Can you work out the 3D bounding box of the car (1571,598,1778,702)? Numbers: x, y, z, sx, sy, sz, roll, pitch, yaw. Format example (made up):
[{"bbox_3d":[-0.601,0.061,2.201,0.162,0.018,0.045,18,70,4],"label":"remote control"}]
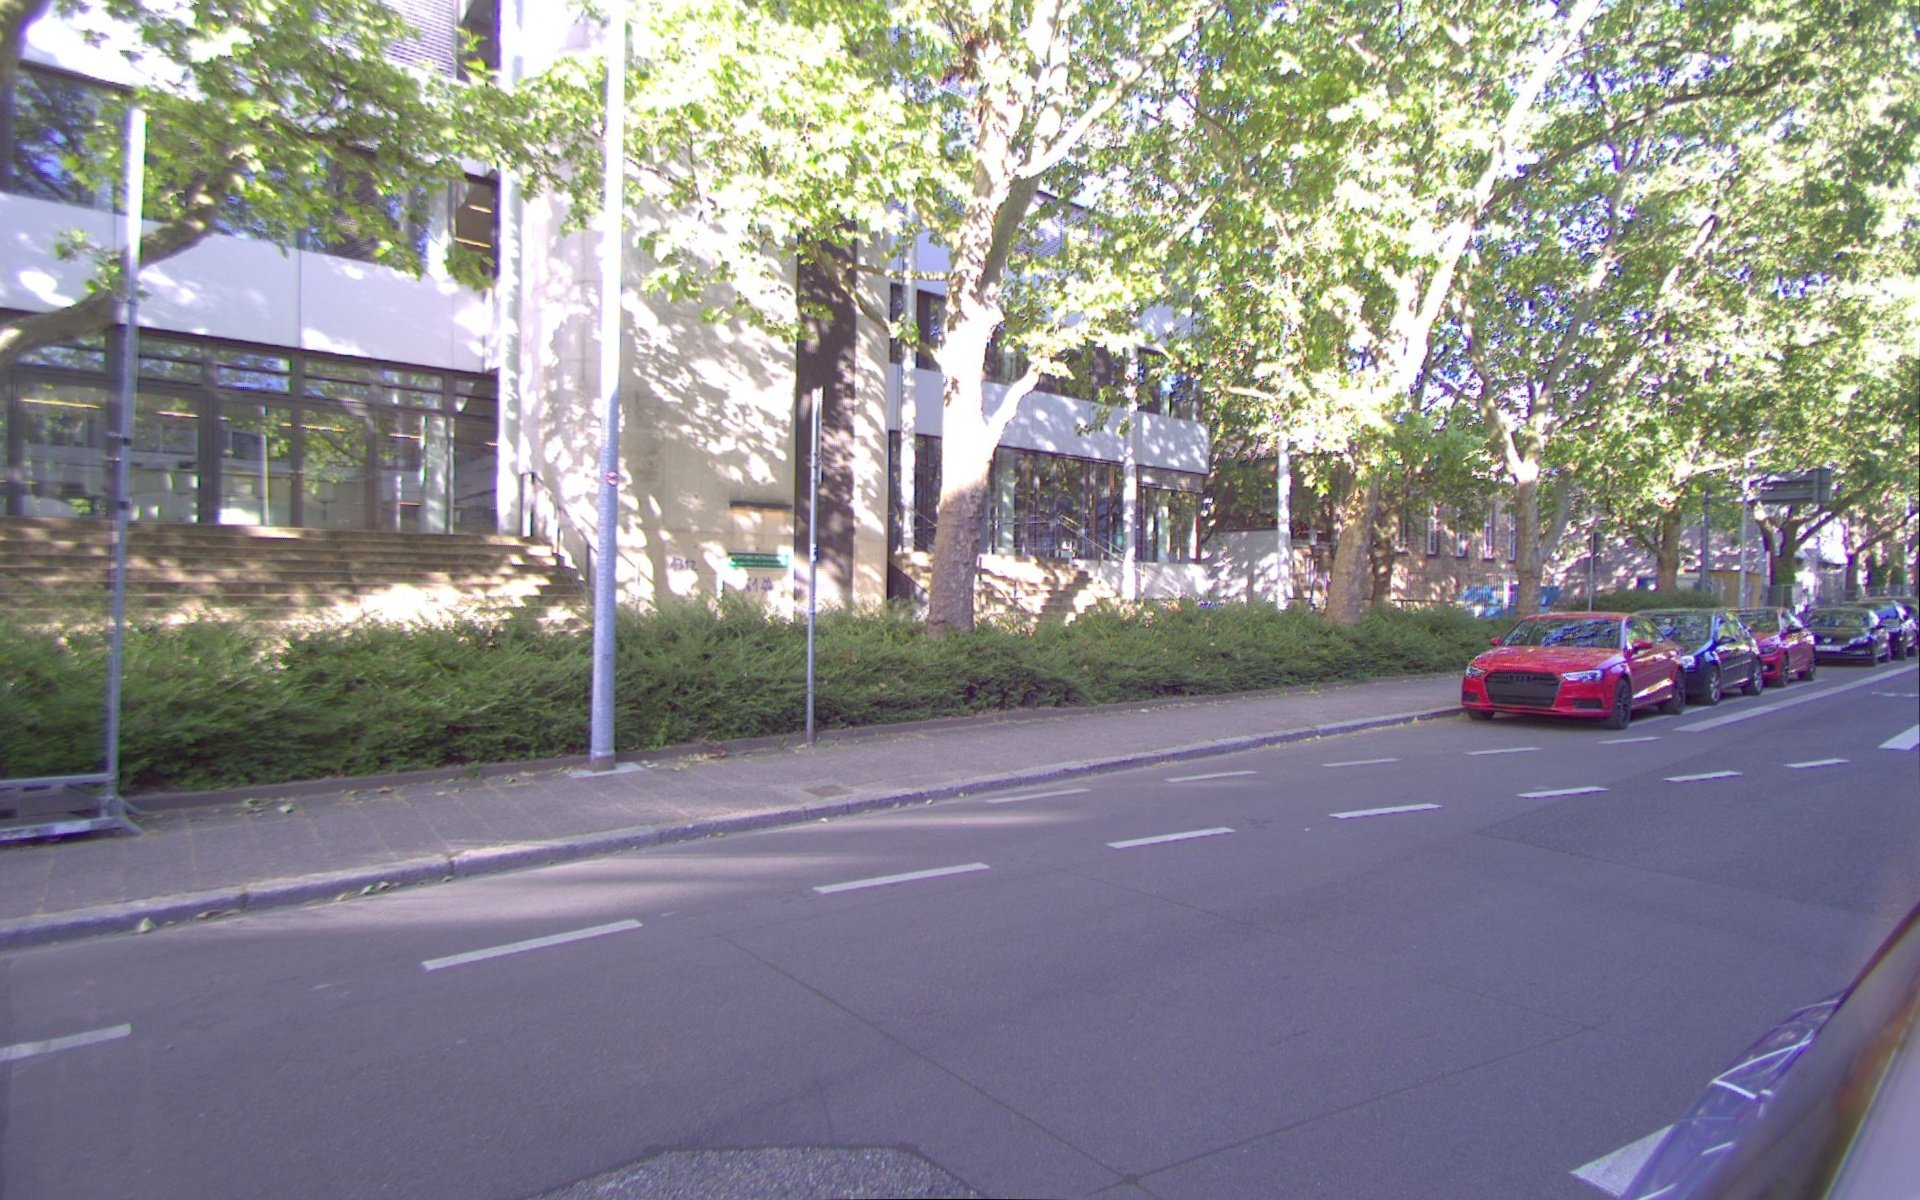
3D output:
[{"bbox_3d":[11.809,0.724,16.665,3.581,1.478,1.997,-1,0,-41],"label":"car"}]

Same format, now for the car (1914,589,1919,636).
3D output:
[{"bbox_3d":[39.652,0.476,40.324,3.930,1.872,1.997,-1,0,-41],"label":"car"}]

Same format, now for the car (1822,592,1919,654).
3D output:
[{"bbox_3d":[26.546,0.602,29.189,4.070,1.621,1.997,-1,0,-41],"label":"car"}]

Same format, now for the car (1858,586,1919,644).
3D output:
[{"bbox_3d":[31.286,0.443,33.319,4.493,1.809,1.997,-1,0,-41],"label":"car"}]

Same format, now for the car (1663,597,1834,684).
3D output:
[{"bbox_3d":[15.668,0.713,20.059,3.762,1.517,1.997,-1,0,-41],"label":"car"}]

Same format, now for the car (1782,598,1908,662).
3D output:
[{"bbox_3d":[22.822,0.717,26.069,3.527,1.474,1.997,-1,0,-41],"label":"car"}]

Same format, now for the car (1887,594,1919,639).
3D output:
[{"bbox_3d":[35.980,0.568,37.454,4.070,1.585,1.997,-1,0,-41],"label":"car"}]

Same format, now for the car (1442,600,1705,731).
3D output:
[{"bbox_3d":[8.279,0.748,13.531,3.930,1.443,1.906,-1,0,-41],"label":"car"}]
